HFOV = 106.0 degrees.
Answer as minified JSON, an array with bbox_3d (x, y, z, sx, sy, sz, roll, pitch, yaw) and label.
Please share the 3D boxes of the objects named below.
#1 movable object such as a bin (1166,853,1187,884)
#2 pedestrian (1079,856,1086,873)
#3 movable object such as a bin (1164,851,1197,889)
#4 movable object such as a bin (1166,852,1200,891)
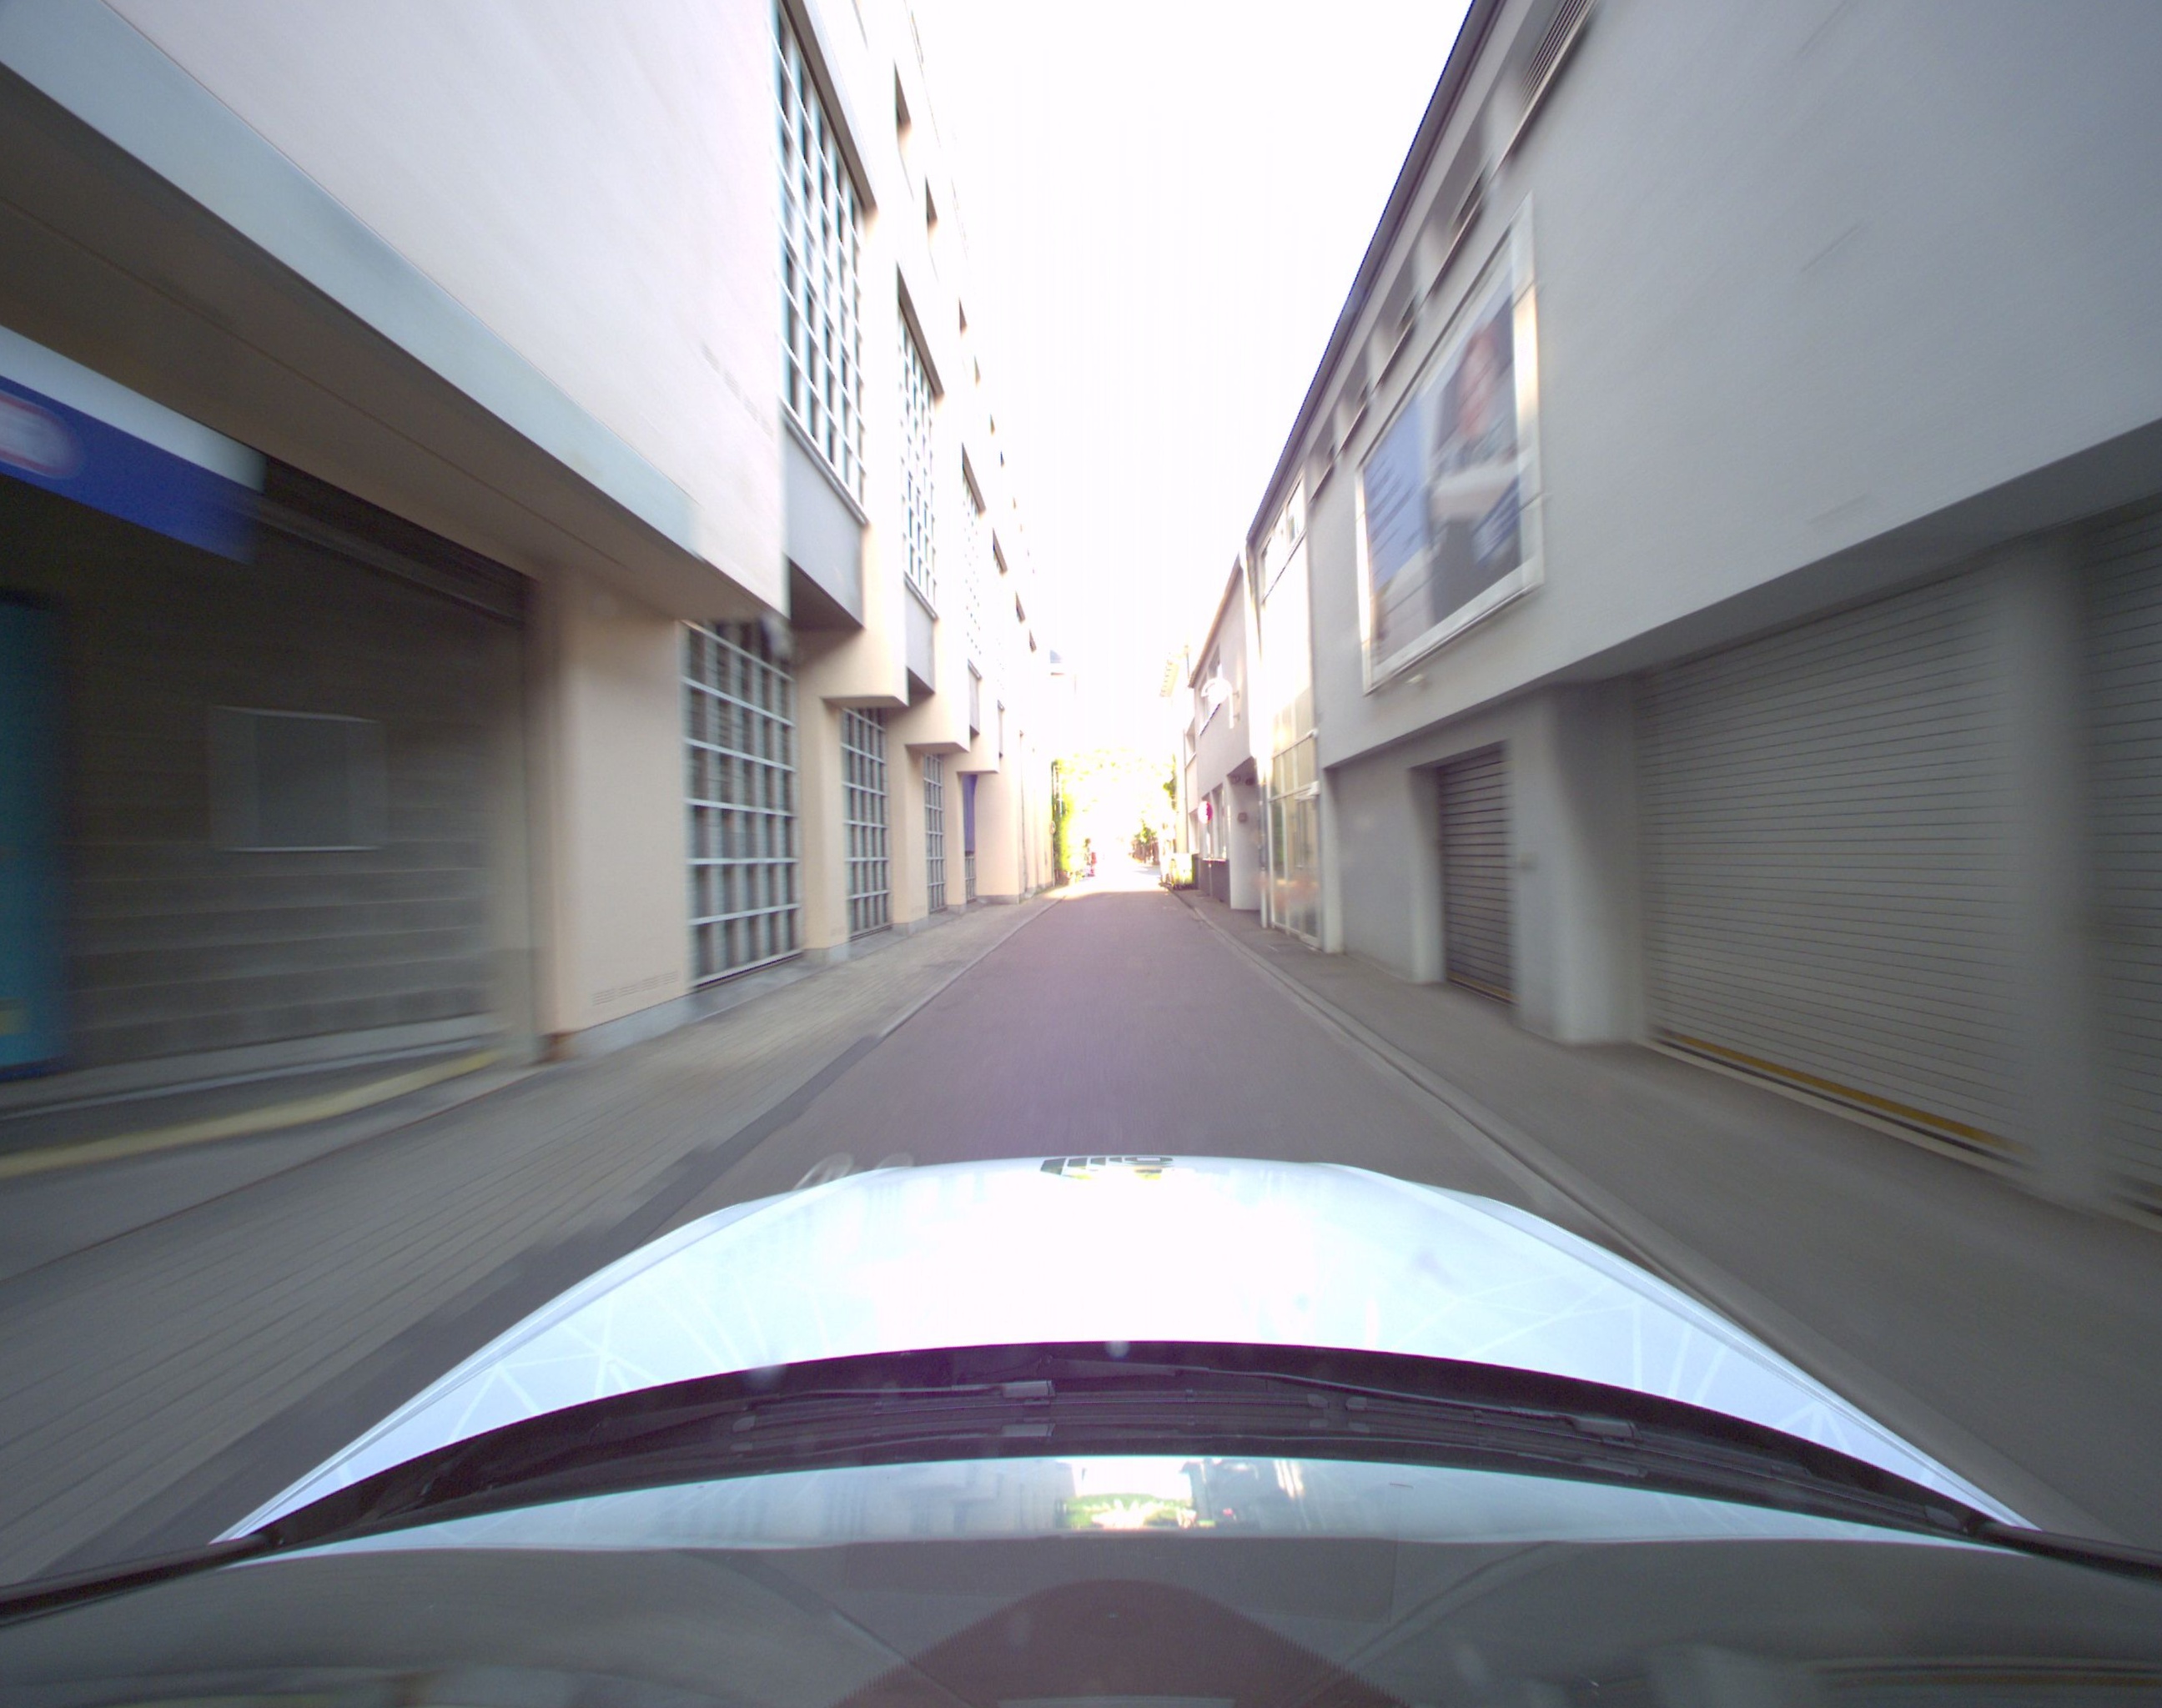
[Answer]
[{"bbox_3d":[4.287,0.630,36.568,0.831,1.305,1.292,-4,0,6],"label":"movable object such as a bin"},{"bbox_3d":[0.181,1.092,87.545,0.651,1.764,0.635,-3,-1,6],"label":"pedestrian"},{"bbox_3d":[3.888,0.616,31.926,1.061,1.366,1.342,-4,0,0],"label":"movable object such as a bin"},{"bbox_3d":[3.796,0.655,30.522,0.935,1.366,1.340,-4,0,-4],"label":"movable object such as a bin"}]
